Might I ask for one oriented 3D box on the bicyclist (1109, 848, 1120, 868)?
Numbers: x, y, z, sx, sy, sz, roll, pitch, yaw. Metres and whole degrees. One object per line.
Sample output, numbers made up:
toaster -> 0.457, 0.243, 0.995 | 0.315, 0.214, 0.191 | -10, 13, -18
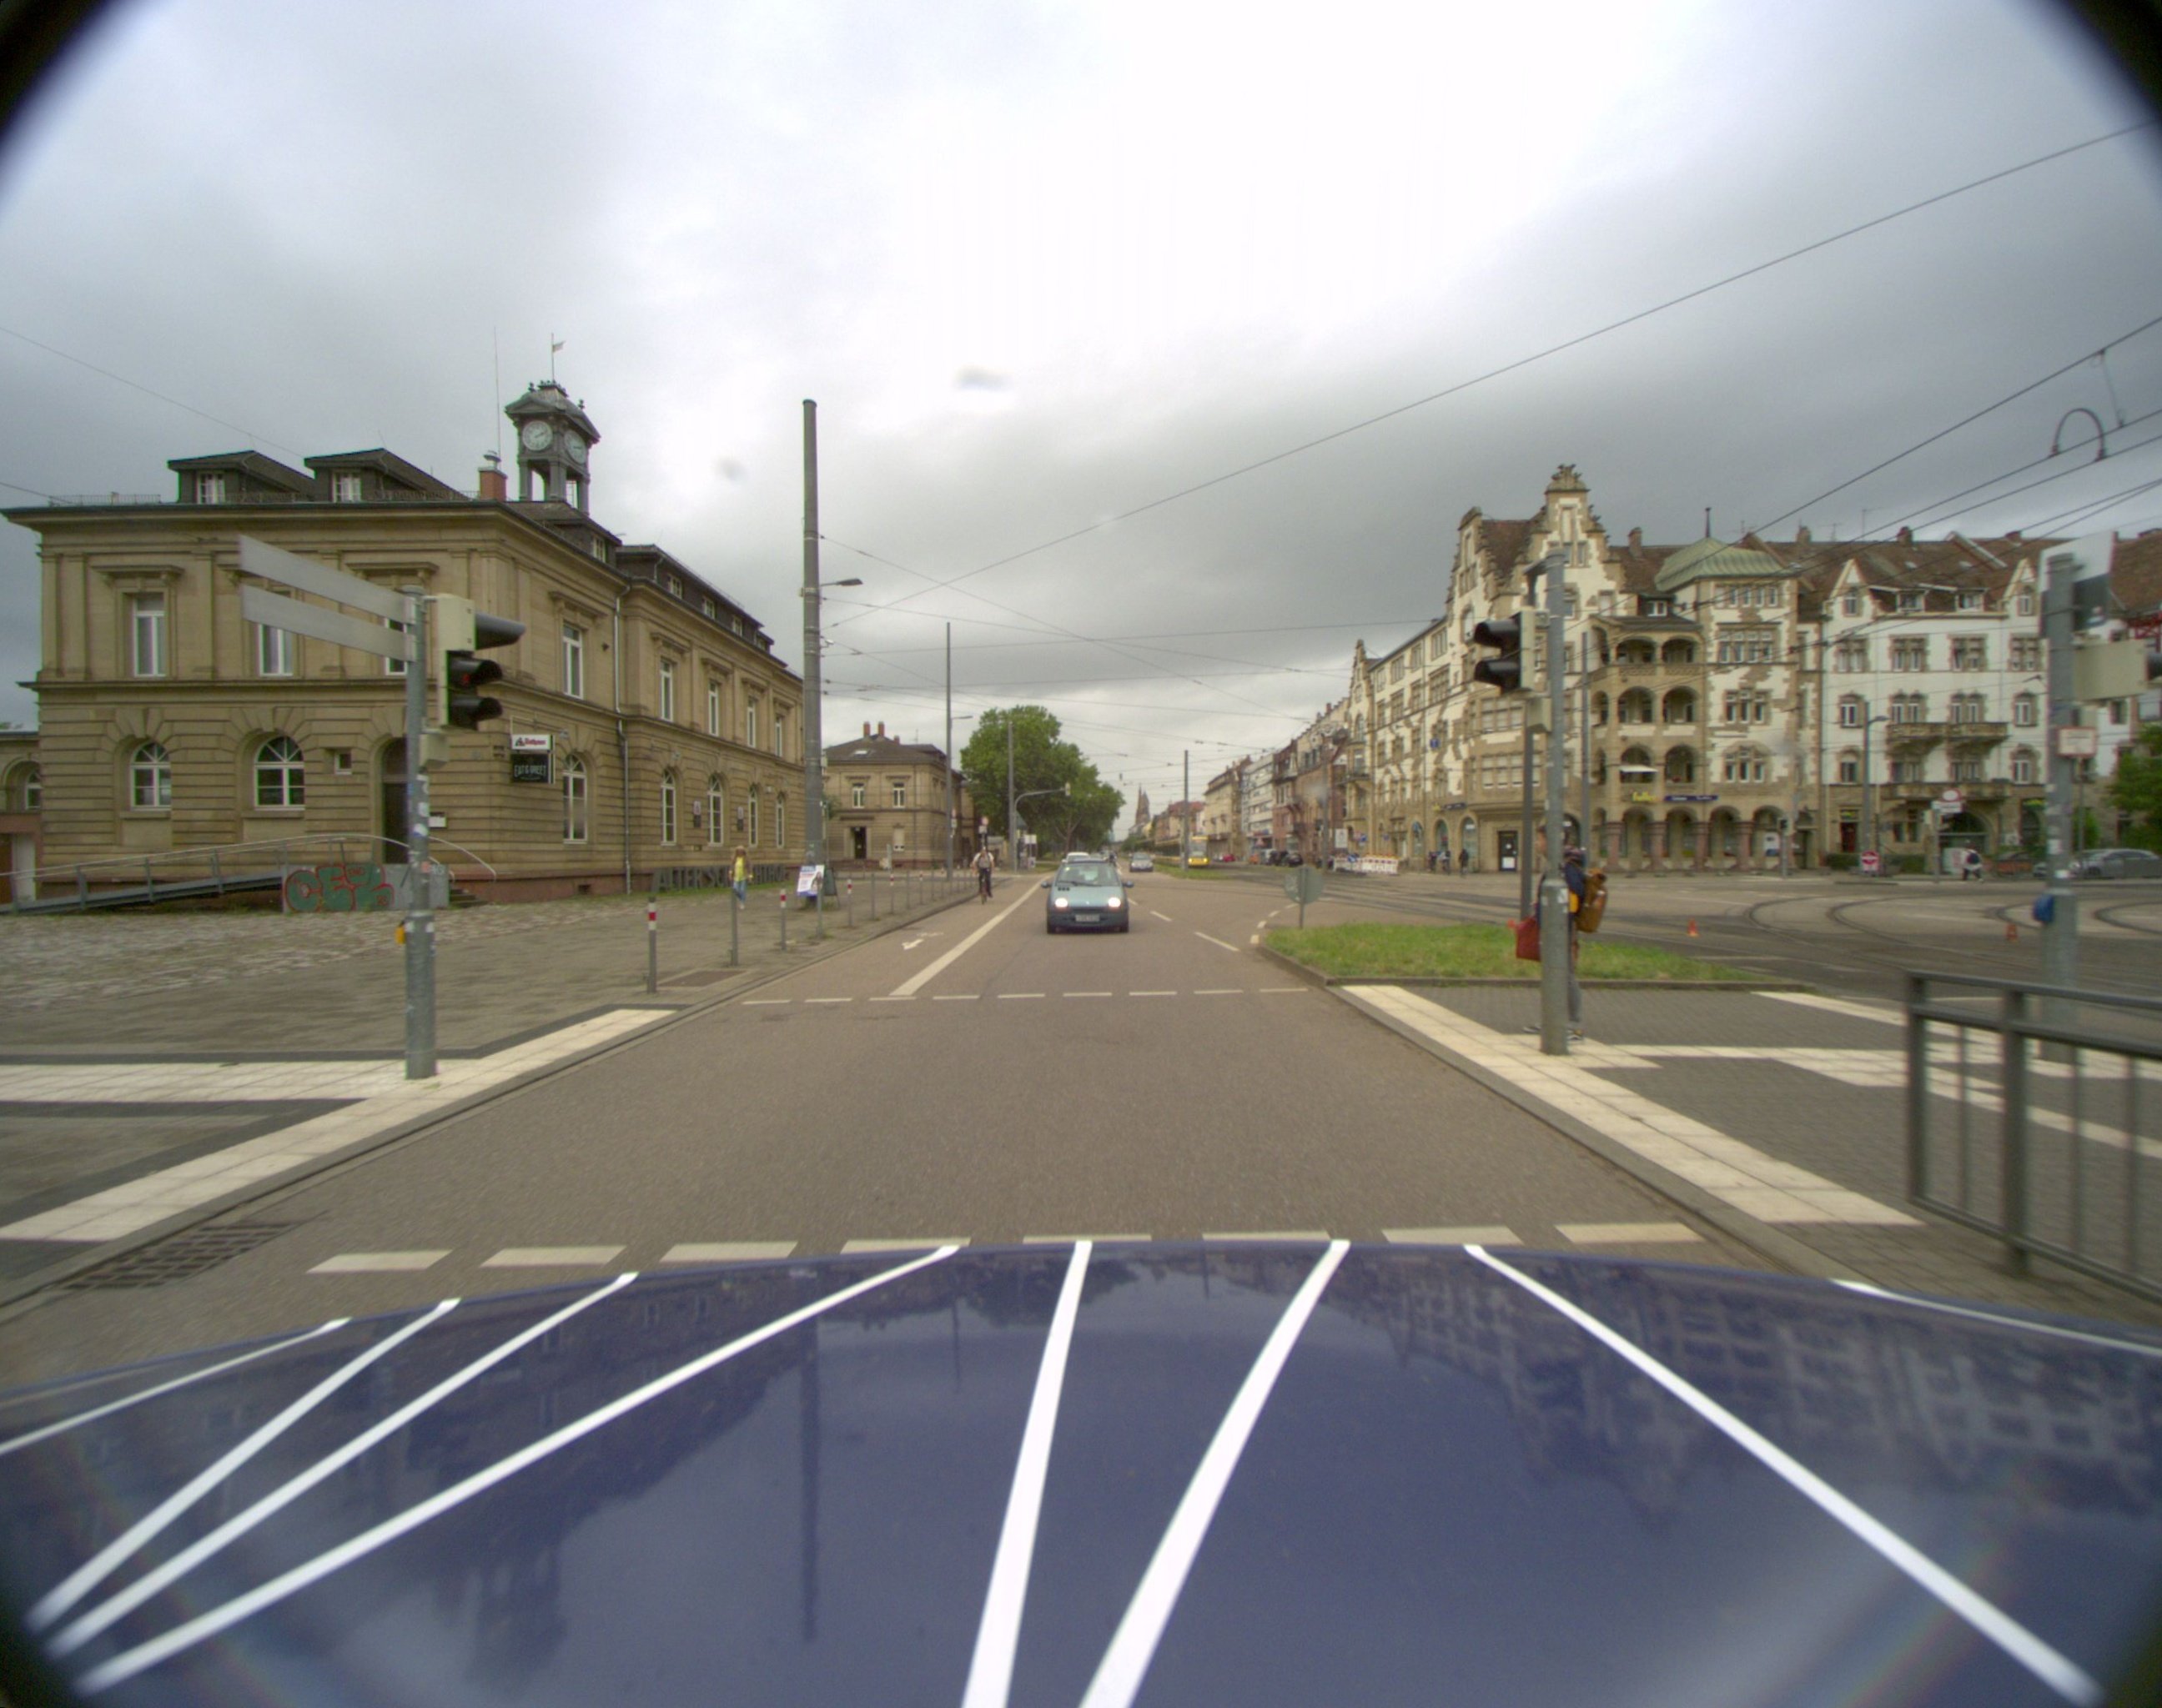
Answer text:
bicyclist -> 2.594, 0.320, 58.782 | 0.812, 1.587, 0.890 | 0, 0, 0

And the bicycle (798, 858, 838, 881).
bicycle -> -13.274, 0.804, 38.441 | 1.859, 1.072, 0.546 | 2, 1, -17

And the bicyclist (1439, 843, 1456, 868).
bicyclist -> 23.695, 0.102, 49.112 | 0.723, 1.596, 0.860 | 0, 0, 6

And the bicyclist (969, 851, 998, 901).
bicyclist -> -3.212, 0.696, 25.064 | 0.812, 1.591, 1.189 | 0, 2, -1

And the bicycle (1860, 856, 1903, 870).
bicycle -> 45.557, 0.519, 43.253 | 0.561, 0.734, 1.803 | 0, 1, 1

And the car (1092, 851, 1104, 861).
car -> 2.207, 0.261, 98.404 | 1.546, 1.336, 3.796 | 0, 0, 1

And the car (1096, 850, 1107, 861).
car -> 2.977, 0.255, 108.471 | 1.534, 1.464, 3.353 | 1, 1, 3

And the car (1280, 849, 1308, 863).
car -> 23.786, 0.200, 85.056 | 1.999, 1.434, 3.998 | 0, 1, -1

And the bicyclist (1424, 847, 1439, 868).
bicyclist -> 24.435, 0.262, 52.971 | 0.708, 1.436, 0.973 | 0, 0, 5

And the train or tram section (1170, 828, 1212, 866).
train or tram section -> 10.797, -0.749, 76.045 | 2.651, 3.418, 13.617 | 0, 1, 2

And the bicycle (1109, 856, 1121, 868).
bicycle -> 2.604, 0.638, 58.648 | 0.812, 0.939, 2.147 | 0, -1, 0

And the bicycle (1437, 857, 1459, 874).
bicycle -> 23.691, 0.738, 49.069 | 0.723, 1.031, 1.910 | 0, 0, 6

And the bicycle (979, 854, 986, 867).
bicycle -> -9.625, 0.616, 74.028 | 0.677, 1.158, 2.112 | 0, 1, -7

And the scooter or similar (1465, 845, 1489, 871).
scooter or similar -> 26.419, 0.249, 50.714 | 0.565, 1.706, 1.830 | 0, 1, 0

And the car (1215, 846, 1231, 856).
car -> 25.310, -0.528, 135.757 | 1.999, 1.587, 3.998 | 0, 1, -1

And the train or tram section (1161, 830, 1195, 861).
train or tram section -> 11.300, -1.064, 89.620 | 2.651, 3.418, 13.617 | 0, 1, 2

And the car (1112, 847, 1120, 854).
car -> 9.882, -0.939, 215.962 | 1.999, 2.002, 3.999 | 0, 1, 0

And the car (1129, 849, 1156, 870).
car -> 5.030, 0.448, 62.364 | 1.869, 1.630, 3.774 | 0, 1, 0

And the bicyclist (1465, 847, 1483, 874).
bicyclist -> 22.987, 0.384, 44.454 | 0.750, 1.511, 0.766 | 0, -1, 8

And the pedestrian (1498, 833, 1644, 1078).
pedestrian -> 3.594, 0.664, 5.568 | 0.862, 1.633, 0.651 | -1, 2, -40

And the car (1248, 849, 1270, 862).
car -> 24.489, 0.177, 104.400 | 1.999, 1.587, 3.998 | 0, 1, -1

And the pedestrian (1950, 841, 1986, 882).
pedestrian -> 37.223, 0.310, 31.890 | 0.608, 1.677, 0.704 | 0, 2, 0

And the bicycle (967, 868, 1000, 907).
bicycle -> -3.206, 1.075, 25.149 | 0.814, 1.163, 2.276 | 0, 1, 0

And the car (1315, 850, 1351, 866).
car -> 23.881, 0.379, 72.115 | 1.999, 1.434, 3.998 | 0, 1, -1

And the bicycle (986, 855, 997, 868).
bicycle -> -7.810, 0.678, 66.177 | 0.718, 1.062, 1.699 | 0, 1, 0

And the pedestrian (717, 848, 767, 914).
pedestrian -> -8.814, 0.684, 19.810 | 0.720, 1.669, 1.000 | 0, 2, 11

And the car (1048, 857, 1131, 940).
car -> 0.247, 0.845, 15.963 | 1.534, 1.464, 3.353 | 1, 1, 3

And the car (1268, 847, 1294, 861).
car -> 23.938, 0.004, 91.102 | 1.999, 1.587, 3.998 | 0, 1, -1

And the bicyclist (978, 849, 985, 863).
bicyclist -> -9.706, 0.203, 74.151 | 0.695, 1.392, 0.815 | 0, 2, -11

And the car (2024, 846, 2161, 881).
car -> 45.196, 0.398, 33.822 | 3.996, 1.502, 1.800 | 0, 1, 3

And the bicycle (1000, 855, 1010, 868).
bicycle -> -6.552, 0.607, 65.674 | 0.718, 1.062, 1.699 | 0, 1, 0

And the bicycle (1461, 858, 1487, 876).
bicycle -> 22.993, 0.773, 44.459 | 0.750, 1.030, 1.917 | 0, -1, 8

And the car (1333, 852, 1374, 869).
car -> 23.809, 0.543, 66.528 | 1.999, 1.434, 3.998 | 0, 1, -1

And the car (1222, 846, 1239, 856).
car -> 25.394, -0.539, 129.263 | 1.999, 1.587, 3.998 | 0, 1, -1

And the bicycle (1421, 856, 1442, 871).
bicycle -> 24.436, 0.624, 52.974 | 0.708, 1.031, 2.023 | 0, 0, 5

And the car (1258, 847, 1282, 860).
car -> 24.250, -0.127, 97.645 | 1.999, 1.587, 3.998 | 0, 1, -1

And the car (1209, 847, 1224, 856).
car -> 25.095, -0.546, 140.895 | 1.999, 1.587, 3.998 | 0, 1, -1

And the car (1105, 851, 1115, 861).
car -> 6.495, 0.414, 169.171 | 1.999, 2.002, 3.999 | 0, 1, 0
